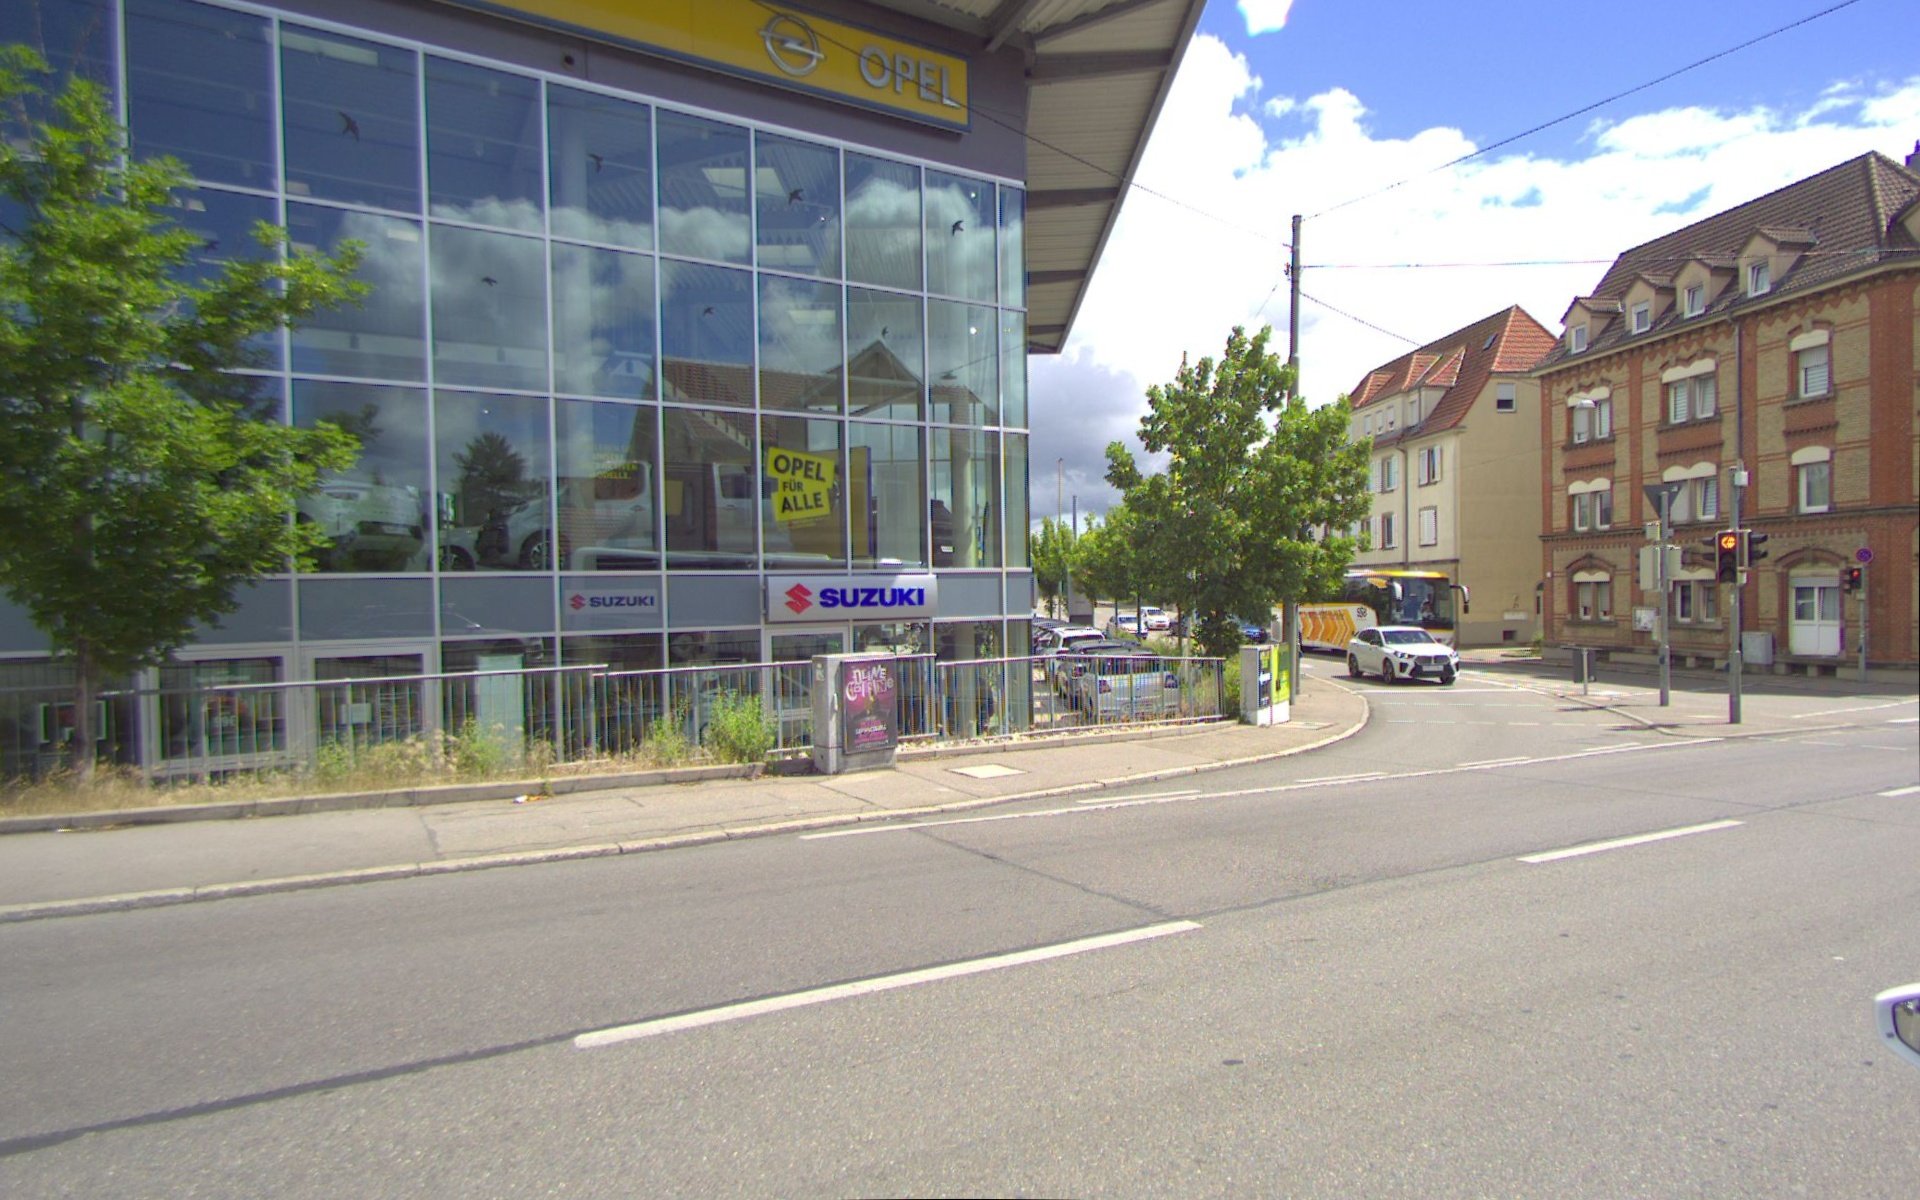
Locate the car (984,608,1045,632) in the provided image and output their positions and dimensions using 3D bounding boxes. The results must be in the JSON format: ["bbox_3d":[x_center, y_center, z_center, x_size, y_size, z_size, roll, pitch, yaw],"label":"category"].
[{"bbox_3d":[3.626,1.352,67.531,3.922,1.574,1.807,1,-1,-1],"label":"car"}]

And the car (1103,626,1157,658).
[{"bbox_3d":[8.265,2.012,48.985,1.766,1.467,3.498,1,-1,-5],"label":"car"}]

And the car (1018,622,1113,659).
[{"bbox_3d":[4.723,1.793,45.109,3.925,1.574,1.806,1,-1,-7],"label":"car"}]

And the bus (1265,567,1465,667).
[{"bbox_3d":[16.869,0.549,43.334,2.719,3.670,12.253,1,1,-5],"label":"bus"}]

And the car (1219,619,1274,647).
[{"bbox_3d":[15.804,1.806,55.631,1.717,1.428,3.999,1,-1,-3],"label":"car"}]

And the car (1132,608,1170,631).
[{"bbox_3d":[13.529,1.376,71.366,1.874,1.574,3.999,1,-1,-2],"label":"car"}]

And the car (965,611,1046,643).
[{"bbox_3d":[2.369,1.409,52.795,3.930,1.574,1.804,1,-1,-12],"label":"car"}]

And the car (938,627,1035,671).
[{"bbox_3d":[0.926,1.768,36.924,3.432,1.467,1.799,-1,0,-3],"label":"car"}]

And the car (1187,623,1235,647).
[{"bbox_3d":[15.789,2.165,63.369,1.874,1.428,3.999,1,-1,-2],"label":"car"}]

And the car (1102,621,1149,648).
[{"bbox_3d":[10.119,2.081,61.626,1.823,1.617,3.996,1,-1,-6],"label":"car"}]

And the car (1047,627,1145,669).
[{"bbox_3d":[5.016,1.760,37.383,3.430,1.497,1.800,1,-1,1],"label":"car"}]

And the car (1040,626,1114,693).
[{"bbox_3d":[3.319,1.657,29.074,1.620,1.703,3.499,-1,0,-2],"label":"car"}]

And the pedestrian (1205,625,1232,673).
[{"bbox_3d":[9.756,1.826,37.895,0.744,1.757,1.145,1,-1,2],"label":"pedestrian"}]

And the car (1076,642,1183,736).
[{"bbox_3d":[3.344,1.727,20.370,1.648,1.582,3.365,-1,0,1],"label":"car"}]

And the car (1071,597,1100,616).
[{"bbox_3d":[12.130,0.631,97.244,1.792,1.773,3.995,1,-1,-9],"label":"car"}]

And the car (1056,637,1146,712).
[{"bbox_3d":[3.349,1.749,24.433,1.584,1.547,3.499,-1,0,-2],"label":"car"}]

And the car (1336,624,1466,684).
[{"bbox_3d":[12.843,1.569,29.546,1.798,1.572,4.307,-2,-2,-1],"label":"car"}]
